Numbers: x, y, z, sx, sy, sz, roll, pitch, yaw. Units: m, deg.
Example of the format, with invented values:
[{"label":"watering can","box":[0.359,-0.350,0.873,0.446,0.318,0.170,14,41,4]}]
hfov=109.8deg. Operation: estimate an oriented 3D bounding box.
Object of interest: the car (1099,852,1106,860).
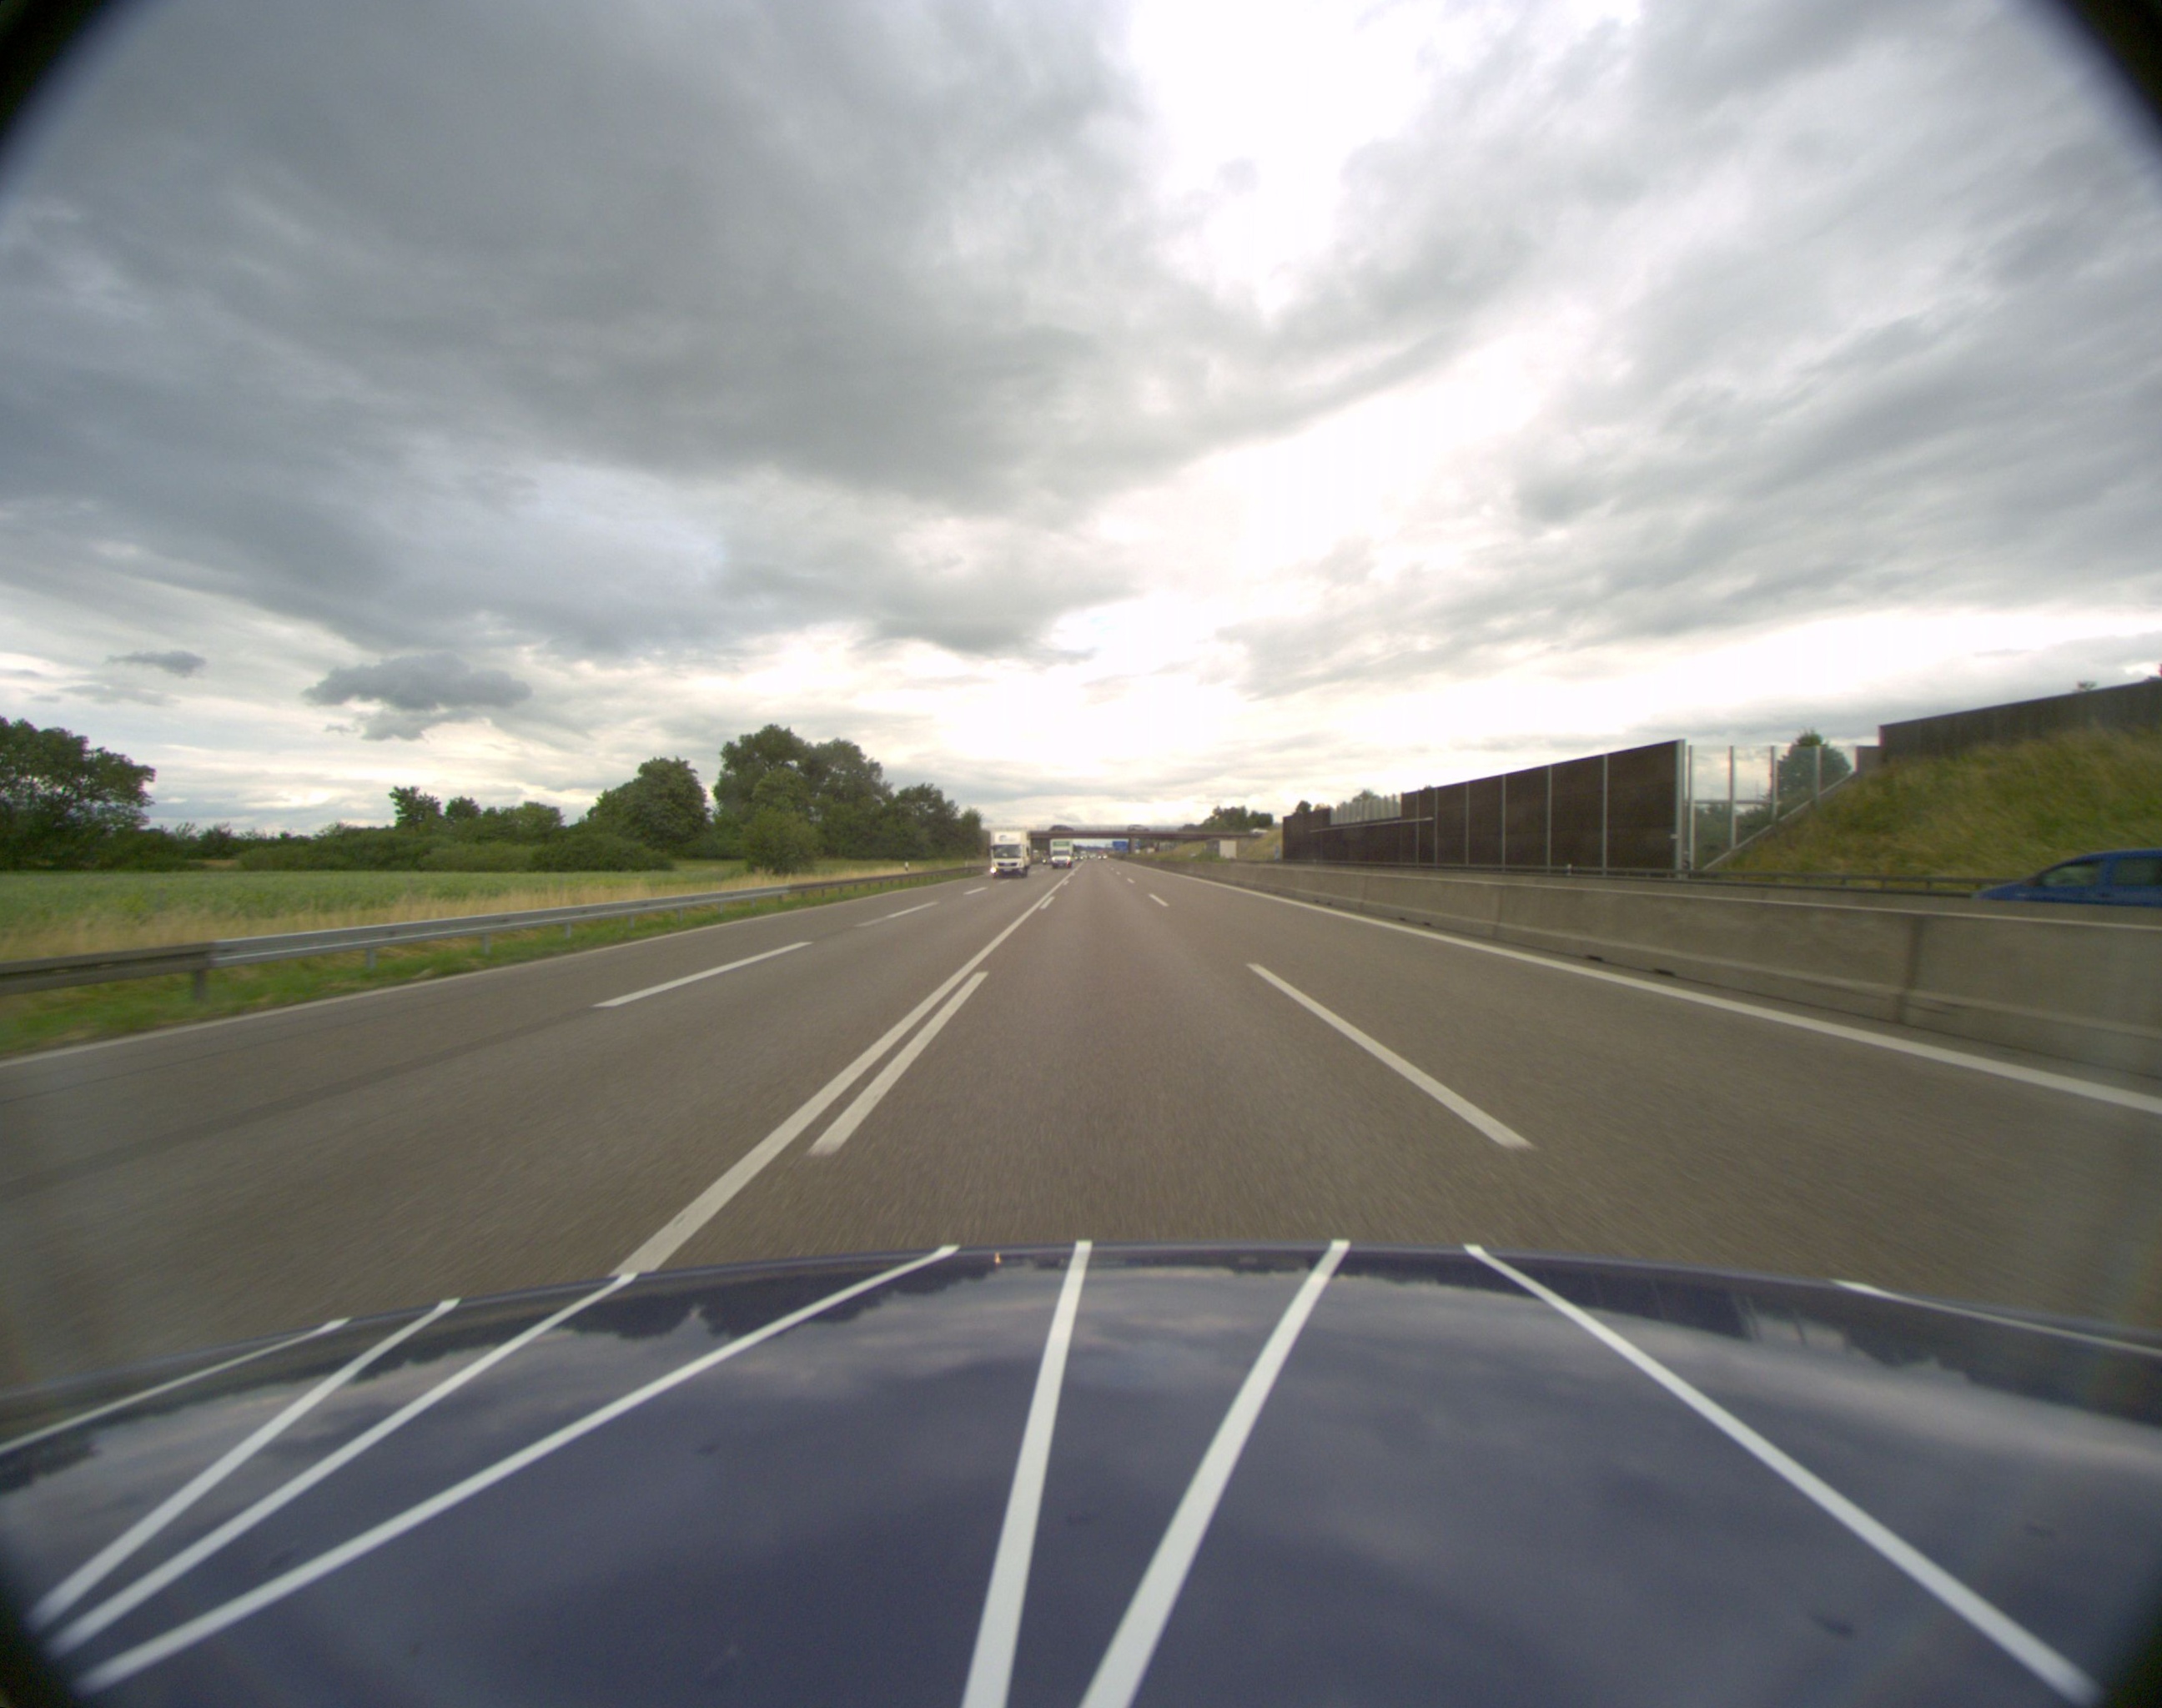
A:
[{"label":"car","box":[5.982,0.521,210.951,1.998,2.002,4.000,0,0,1]}]

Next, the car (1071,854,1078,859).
[{"label":"car","box":[-1.558,0.494,185.583,1.781,1.180,4.000,0,0,1]}]

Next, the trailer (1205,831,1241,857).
[{"label":"trailer","box":[22.804,-1.565,122.762,3.680,3.957,12.678,-2,0,1]}]

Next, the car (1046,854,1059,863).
[{"label":"car","box":[-4.610,0.721,125.006,1.922,1.541,4.923,0,0,0]}]

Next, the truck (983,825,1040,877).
[{"label":"truck","box":[-5.036,-0.246,56.817,3.112,3.450,8.890,-2,0,1]}]

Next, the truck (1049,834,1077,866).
[{"label":"truck","box":[-2.047,-0.461,89.709,2.777,3.484,9.062,-2,0,1]}]

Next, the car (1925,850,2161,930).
[{"label":"car","box":[20.403,0.643,15.000,1.998,1.356,4.940,-2,0,1]}]

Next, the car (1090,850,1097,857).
[{"label":"car","box":[3.826,-0.179,226.745,1.998,2.002,4.000,0,0,1]}]
